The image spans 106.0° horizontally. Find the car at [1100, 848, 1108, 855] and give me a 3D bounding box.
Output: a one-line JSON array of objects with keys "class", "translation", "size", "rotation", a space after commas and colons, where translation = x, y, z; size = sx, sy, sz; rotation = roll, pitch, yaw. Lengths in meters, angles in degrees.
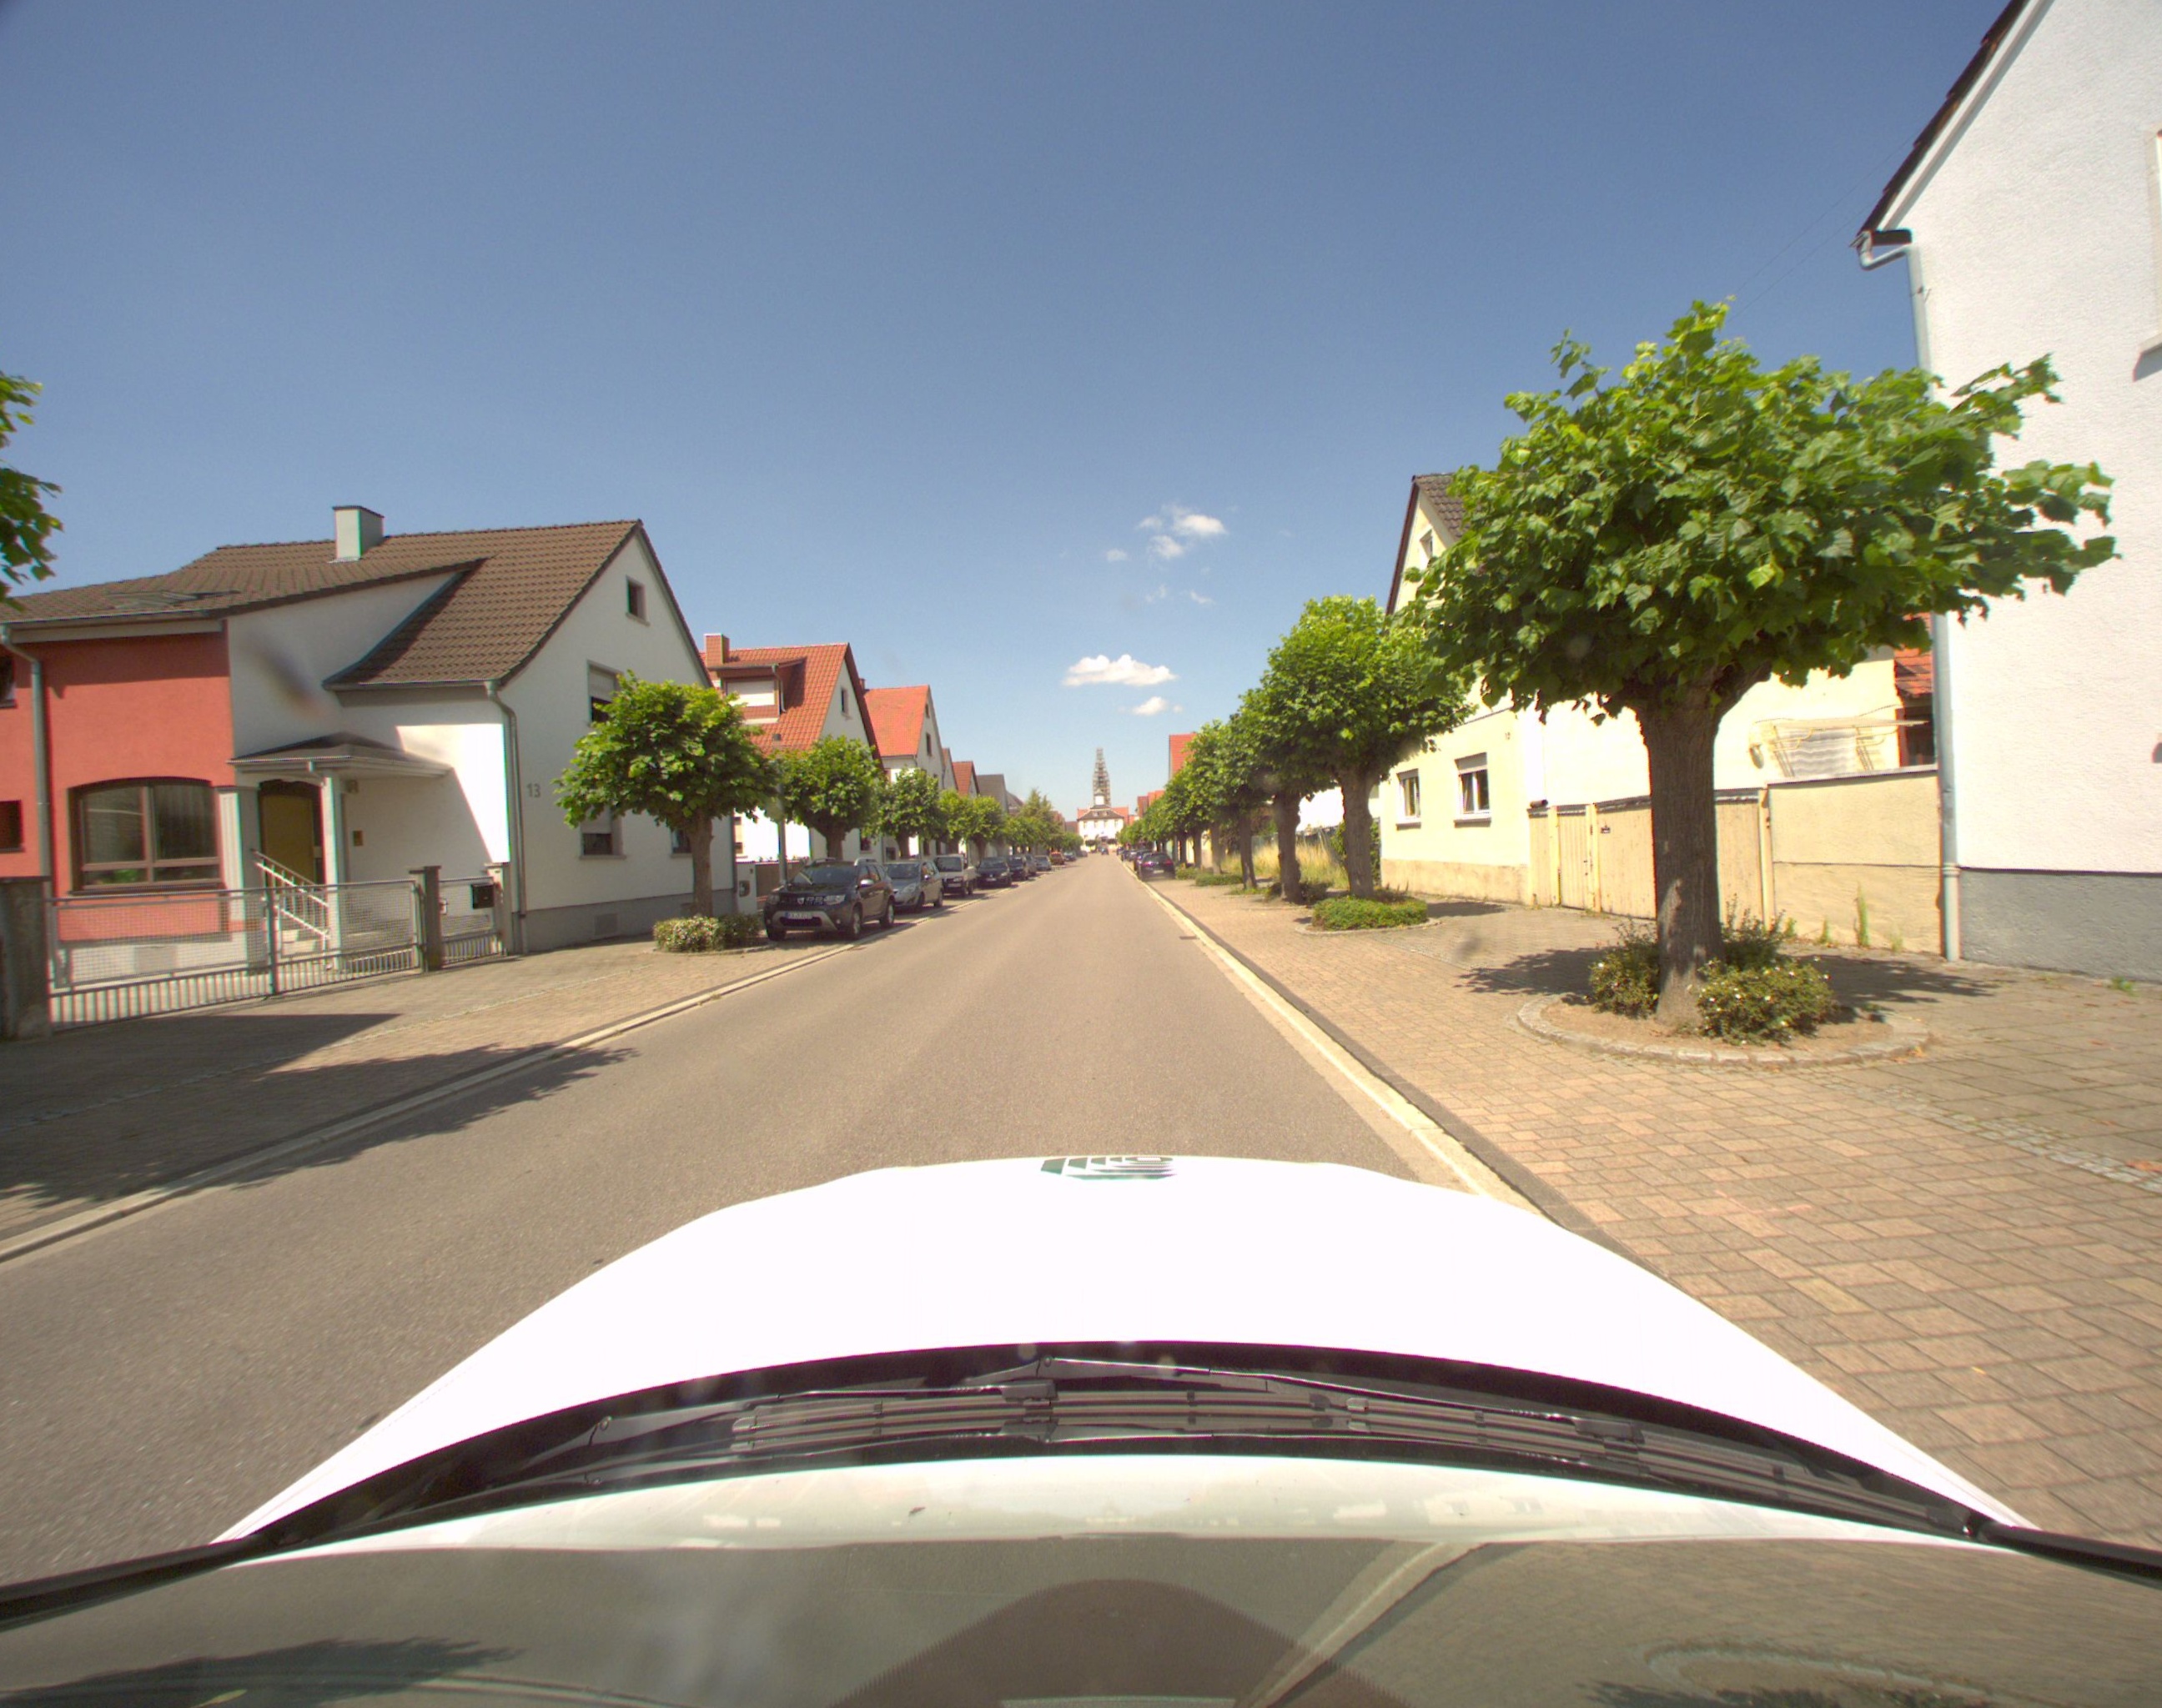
[{"class": "car", "translation": [5.159, -0.657, 184.935], "size": [1.723, 1.547, 3.457], "rotation": [-1, 0, 2]}]

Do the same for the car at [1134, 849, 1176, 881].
[{"class": "car", "translation": [3.799, 0.531, 42.438], "size": [1.817, 1.432, 4.058], "rotation": [-5, 1, 2]}]

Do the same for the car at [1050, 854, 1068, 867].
[{"class": "car", "translation": [-2.823, 0.820, 104.793], "size": [1.985, 1.611, 4.692], "rotation": [-2, 0, 3]}]

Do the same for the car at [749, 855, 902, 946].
[{"class": "car", "translation": [-5.386, 0.892, 17.799], "size": [1.846, 1.636, 4.301], "rotation": [-1, 1, 2]}]

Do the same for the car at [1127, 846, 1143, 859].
[{"class": "car", "translation": [6.908, -0.217, 104.198], "size": [1.831, 1.607, 4.000], "rotation": [-3, 0, 0]}]

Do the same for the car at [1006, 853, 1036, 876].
[{"class": "car", "translation": [-4.373, 0.745, 60.347], "size": [1.988, 1.652, 4.365], "rotation": [-1, 0, -2]}]

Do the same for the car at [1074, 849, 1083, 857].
[{"class": "car", "translation": [-0.534, -0.214, 169.238], "size": [1.751, 1.555, 4.023], "rotation": [-3, 0, 2]}]

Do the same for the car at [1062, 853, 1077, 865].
[{"class": "car", "translation": [-1.777, 0.750, 126.256], "size": [1.985, 1.611, 4.693], "rotation": [-2, 1, 3]}]

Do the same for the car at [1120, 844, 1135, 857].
[{"class": "car", "translation": [6.372, -0.486, 111.870], "size": [1.831, 1.555, 4.315], "rotation": [-5, 0, 1]}]

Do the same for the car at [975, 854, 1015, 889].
[{"class": "car", "translation": [-4.398, 0.851, 42.103], "size": [1.782, 1.634, 3.995], "rotation": [-2, 0, -4]}]

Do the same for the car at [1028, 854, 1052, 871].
[{"class": "car", "translation": [-3.739, 0.778, 74.629], "size": [1.834, 1.396, 4.408], "rotation": [-2, 0, 1]}]

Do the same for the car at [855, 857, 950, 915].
[{"class": "car", "translation": [-5.431, 0.907, 25.349], "size": [1.846, 1.613, 4.372], "rotation": [-1, 0, 2]}]

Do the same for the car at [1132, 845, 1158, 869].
[{"class": "car", "translation": [5.024, 0.204, 63.663], "size": [1.815, 1.586, 4.063], "rotation": [-5, 1, 6]}]

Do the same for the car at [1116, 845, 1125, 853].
[{"class": "car", "translation": [8.441, -1.153, 174.716], "size": [1.830, 1.555, 4.316], "rotation": [-5, 0, 2]}]

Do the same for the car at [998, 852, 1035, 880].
[{"class": "car", "translation": [-4.001, 0.726, 51.395], "size": [1.846, 1.635, 4.058], "rotation": [-1, 0, 2]}]

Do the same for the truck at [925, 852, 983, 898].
[{"class": "truck", "translation": [-5.193, 0.805, 33.783], "size": [1.570, 1.765, 4.194], "rotation": [-1, 0, 2]}]
